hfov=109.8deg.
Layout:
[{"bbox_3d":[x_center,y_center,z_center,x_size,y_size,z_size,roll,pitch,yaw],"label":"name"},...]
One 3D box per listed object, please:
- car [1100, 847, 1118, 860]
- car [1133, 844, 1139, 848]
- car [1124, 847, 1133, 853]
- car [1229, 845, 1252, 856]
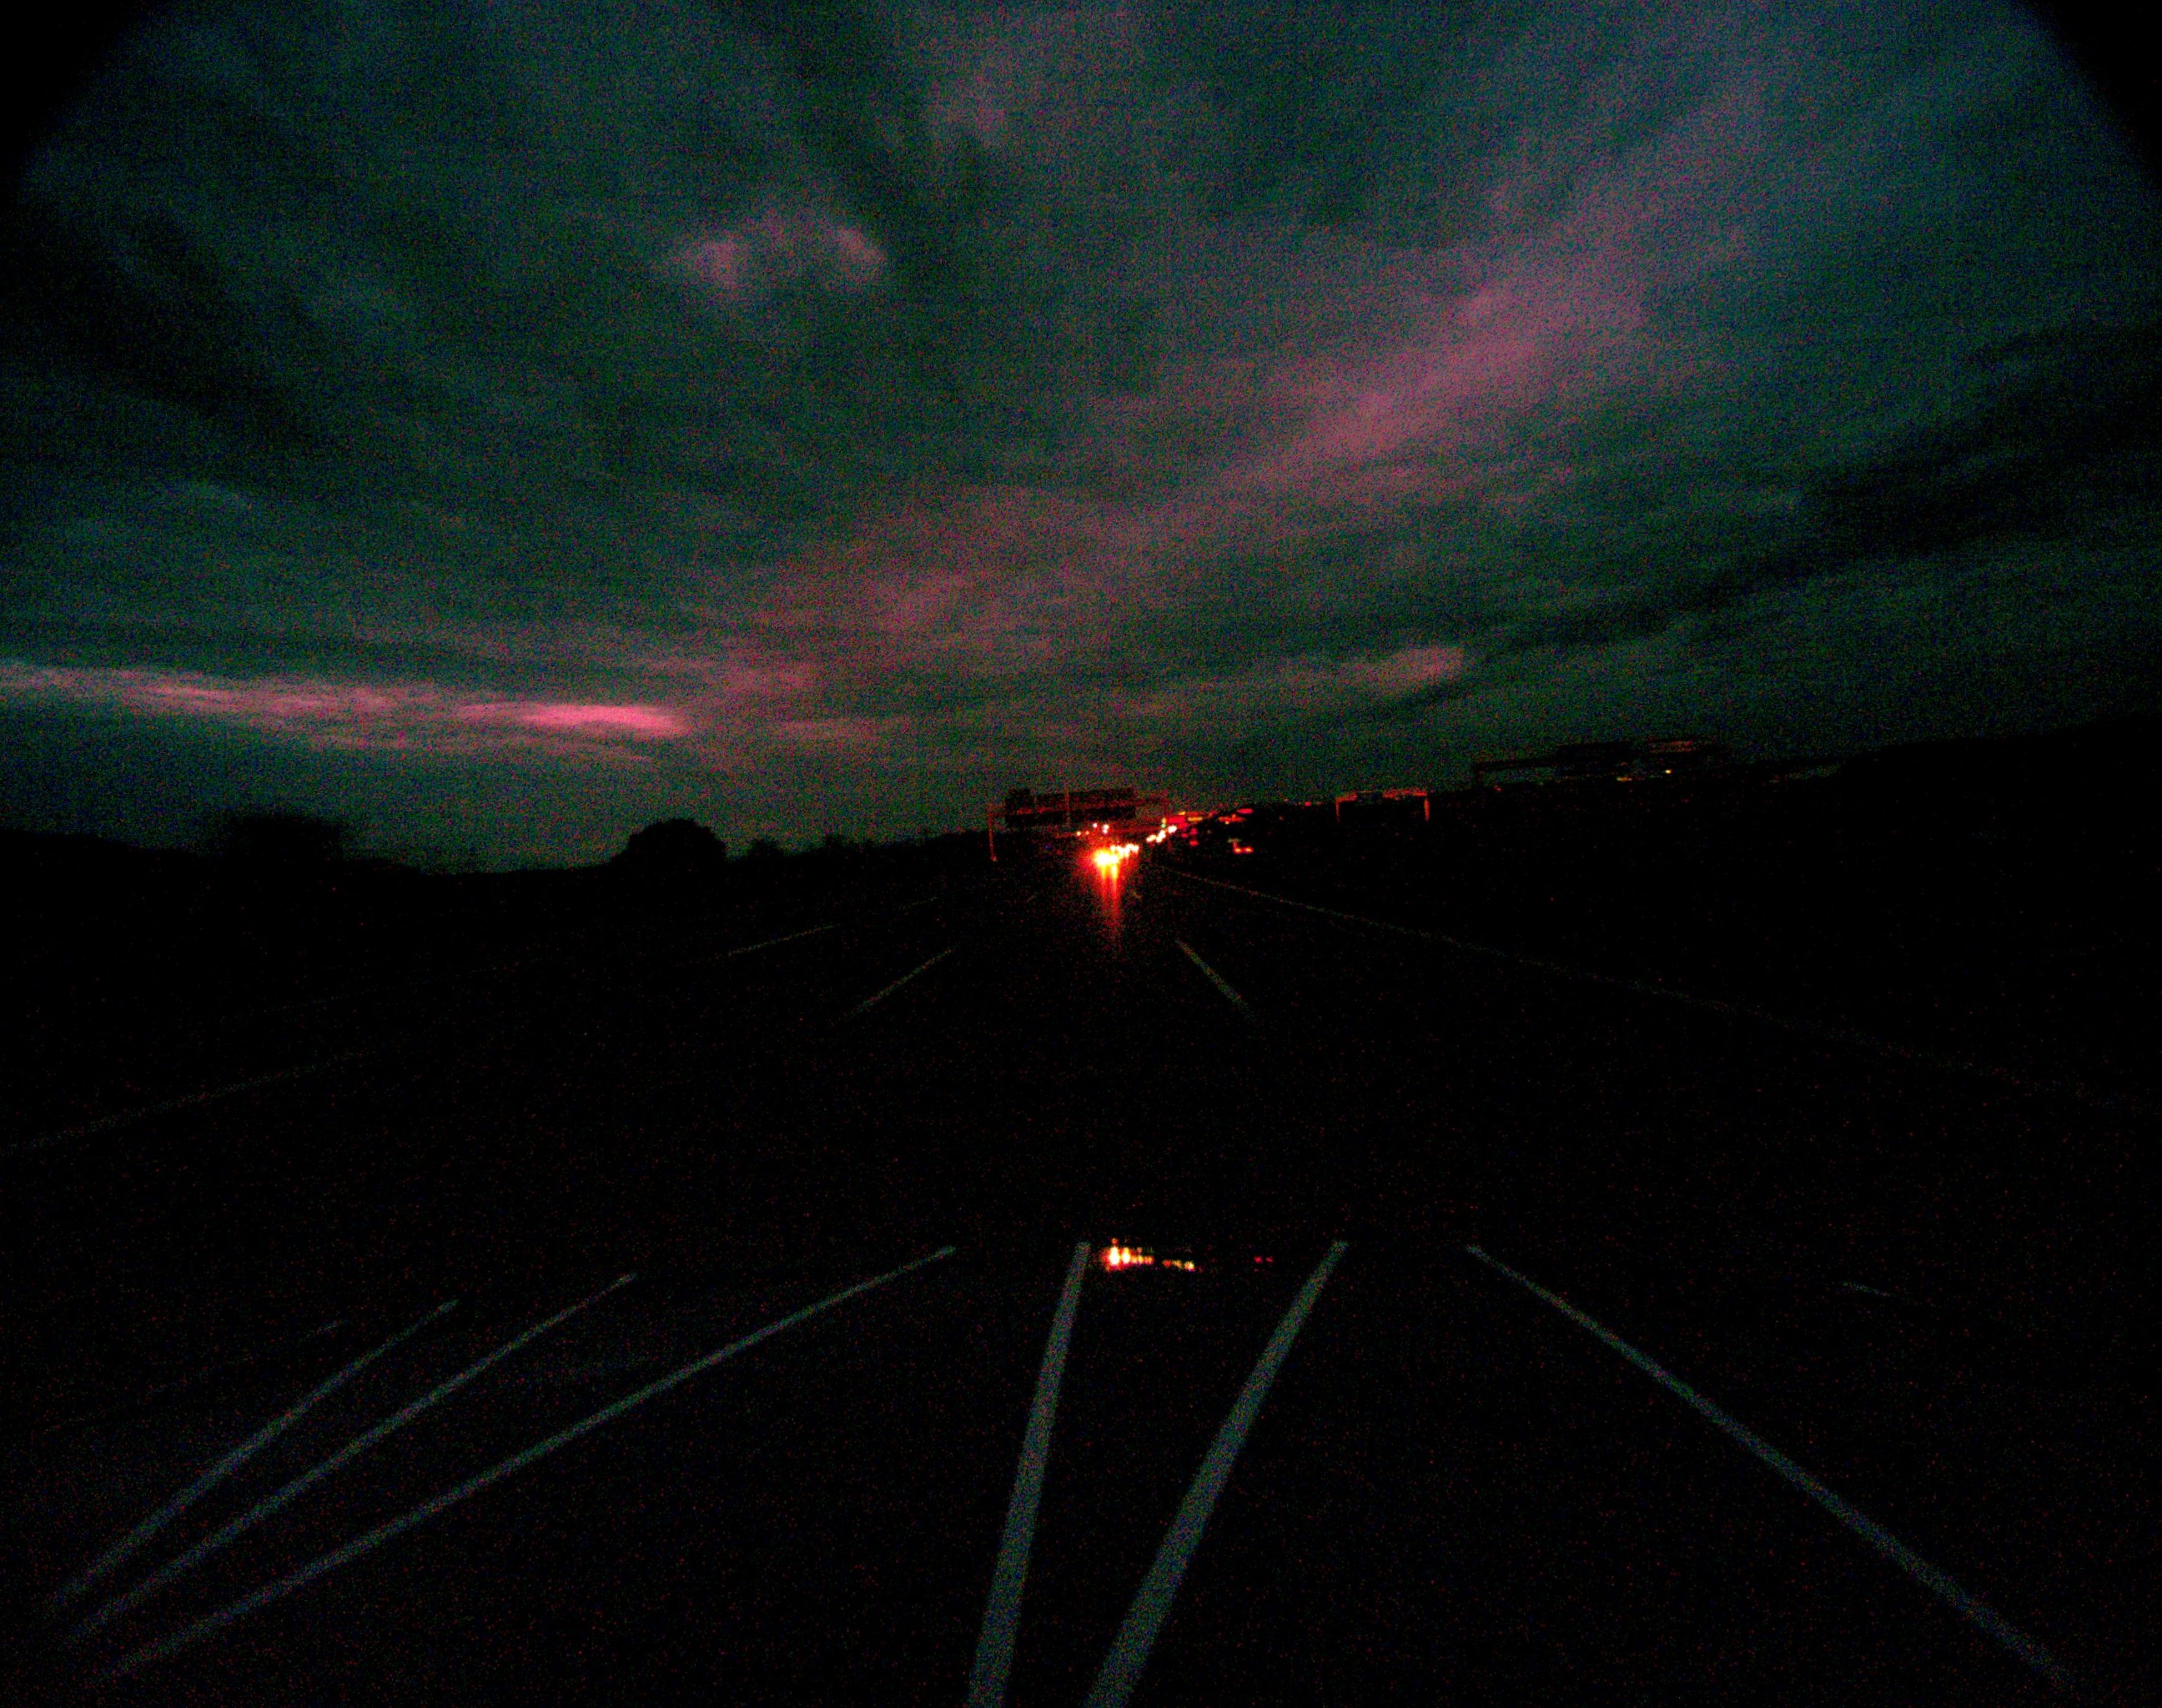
[{"bbox_3d":[3.313,-0.072,89.032,1.998,1.342,4.175,0,2,5],"label":"car"},{"bbox_3d":[18.451,-2.681,254.191,1.998,1.342,4.176,-5,1,6],"label":"car"},{"bbox_3d":[12.379,-1.141,197.246,1.998,1.342,4.176,-5,1,7],"label":"car"},{"bbox_3d":[20.296,-0.422,96.783,1.998,1.350,4.865,-2,0,1],"label":"car"}]
